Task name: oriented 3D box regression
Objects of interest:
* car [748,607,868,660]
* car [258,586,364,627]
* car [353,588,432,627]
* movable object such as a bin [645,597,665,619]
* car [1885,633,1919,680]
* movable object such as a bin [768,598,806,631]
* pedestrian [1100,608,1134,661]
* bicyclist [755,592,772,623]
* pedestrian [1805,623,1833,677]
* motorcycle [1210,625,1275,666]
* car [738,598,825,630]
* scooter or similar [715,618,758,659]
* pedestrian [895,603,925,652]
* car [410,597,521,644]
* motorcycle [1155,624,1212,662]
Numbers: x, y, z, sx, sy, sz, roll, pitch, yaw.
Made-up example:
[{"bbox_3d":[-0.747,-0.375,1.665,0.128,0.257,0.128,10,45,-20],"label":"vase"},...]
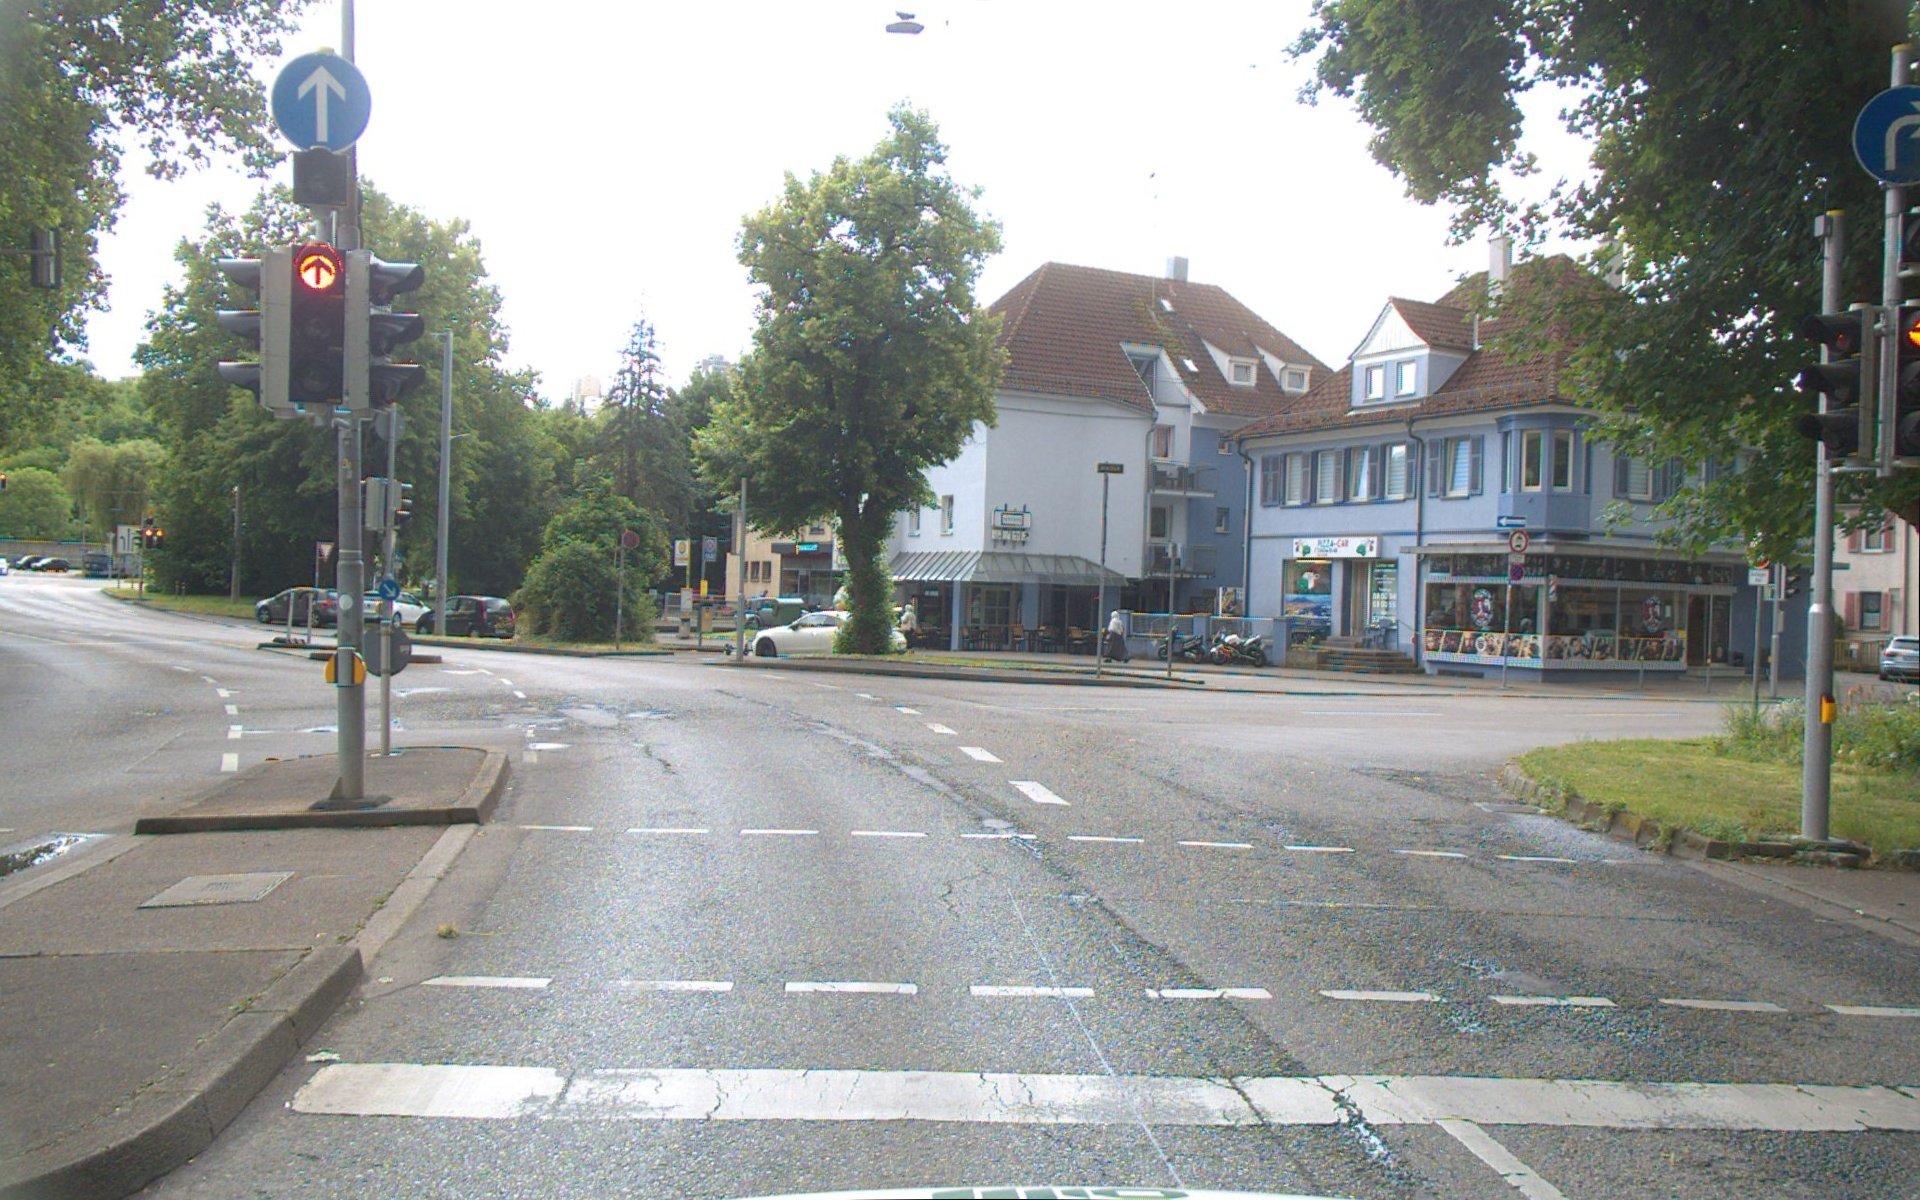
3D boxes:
[{"bbox_3d":[-4.244,0.919,45.959,3.110,1.378,1.435,1,0,34],"label":"car"},{"bbox_3d":[-24.857,0.248,63.397,3.469,1.490,1.586,1,0,12],"label":"car"},{"bbox_3d":[-22.666,0.310,66.187,1.512,1.490,3.398,1,0,10],"label":"car"},{"bbox_3d":[-15.848,0.399,85.917,0.937,1.135,0.381,1,0,-22],"label":"movable object such as a bin"},{"bbox_3d":[29.853,1.740,51.412,1.471,1.393,3.164,1,0,38],"label":"car"},{"bbox_3d":[-7.715,0.661,73.843,1.424,1.433,0.959,1,0,-27],"label":"movable object such as a bin"},{"bbox_3d":[4.752,1.032,49.917,0.754,1.572,0.675,1,-1,38],"label":"pedestrian"},{"bbox_3d":[-10.060,0.369,84.472,0.726,1.568,0.597,1,0,-19],"label":"bicyclist"},{"bbox_3d":[24.726,1.430,47.607,0.451,1.544,0.584,1,-1,-21],"label":"pedestrian"},{"bbox_3d":[8.274,1.312,48.480,1.765,1.141,0.692,1,0,38],"label":"motorcycle"},{"bbox_3d":[-8.154,0.645,75.734,3.690,1.368,1.421,1,0,-27],"label":"car"},{"bbox_3d":[-5.730,0.984,42.543,0.408,1.029,1.567,1,0,20],"label":"scooter or similar"},{"bbox_3d":[-1.634,0.901,54.022,0.694,1.572,0.675,1,0,39],"label":"pedestrian"},{"bbox_3d":[-16.005,0.662,53.464,3.519,1.418,1.468,1,0,32],"label":"car"},{"bbox_3d":[6.794,1.295,50.237,1.609,1.082,0.690,1,0,44],"label":"motorcycle"}]
